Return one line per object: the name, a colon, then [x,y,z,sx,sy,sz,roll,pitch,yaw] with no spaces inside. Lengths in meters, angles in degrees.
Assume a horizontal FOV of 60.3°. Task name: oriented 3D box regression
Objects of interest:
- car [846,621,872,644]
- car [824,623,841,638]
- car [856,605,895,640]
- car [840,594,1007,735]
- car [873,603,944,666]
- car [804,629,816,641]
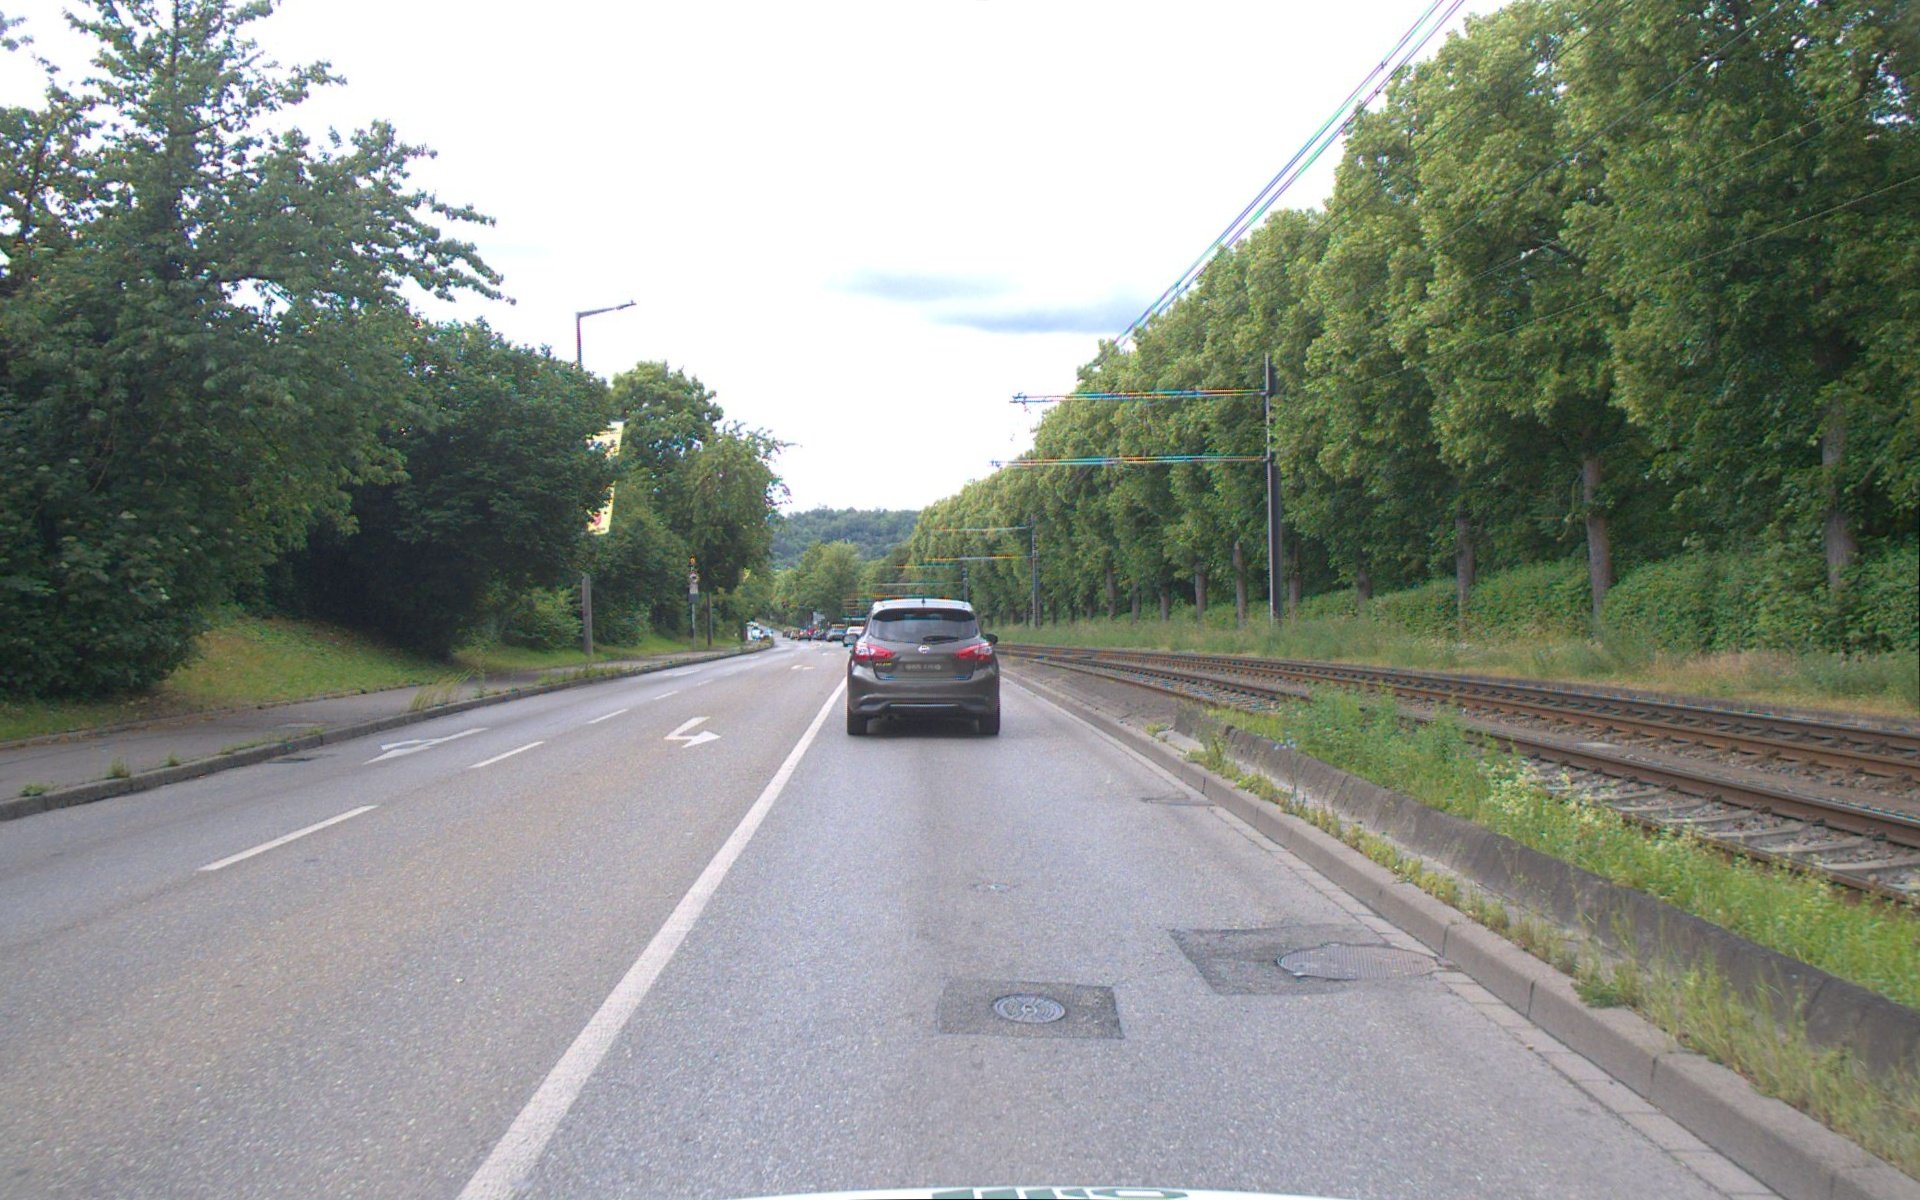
car: [-6.652,2.152,108.914,1.666,1.469,3.996,0,-2,-4]
car: [-13.527,3.246,175.824,1.759,1.537,3.996,0,-2,-4]
car: [-3.771,1.025,73.564,1.666,1.469,3.997,0,-2,-3]
car: [-0.456,0.698,20.020,1.813,1.519,3.999,0,0,-2]
car: [-1.293,0.862,40.851,1.666,1.469,3.997,0,-2,-3]
car: [-22.941,5.390,252.869,1.666,1.744,3.996,0,-2,-4]
